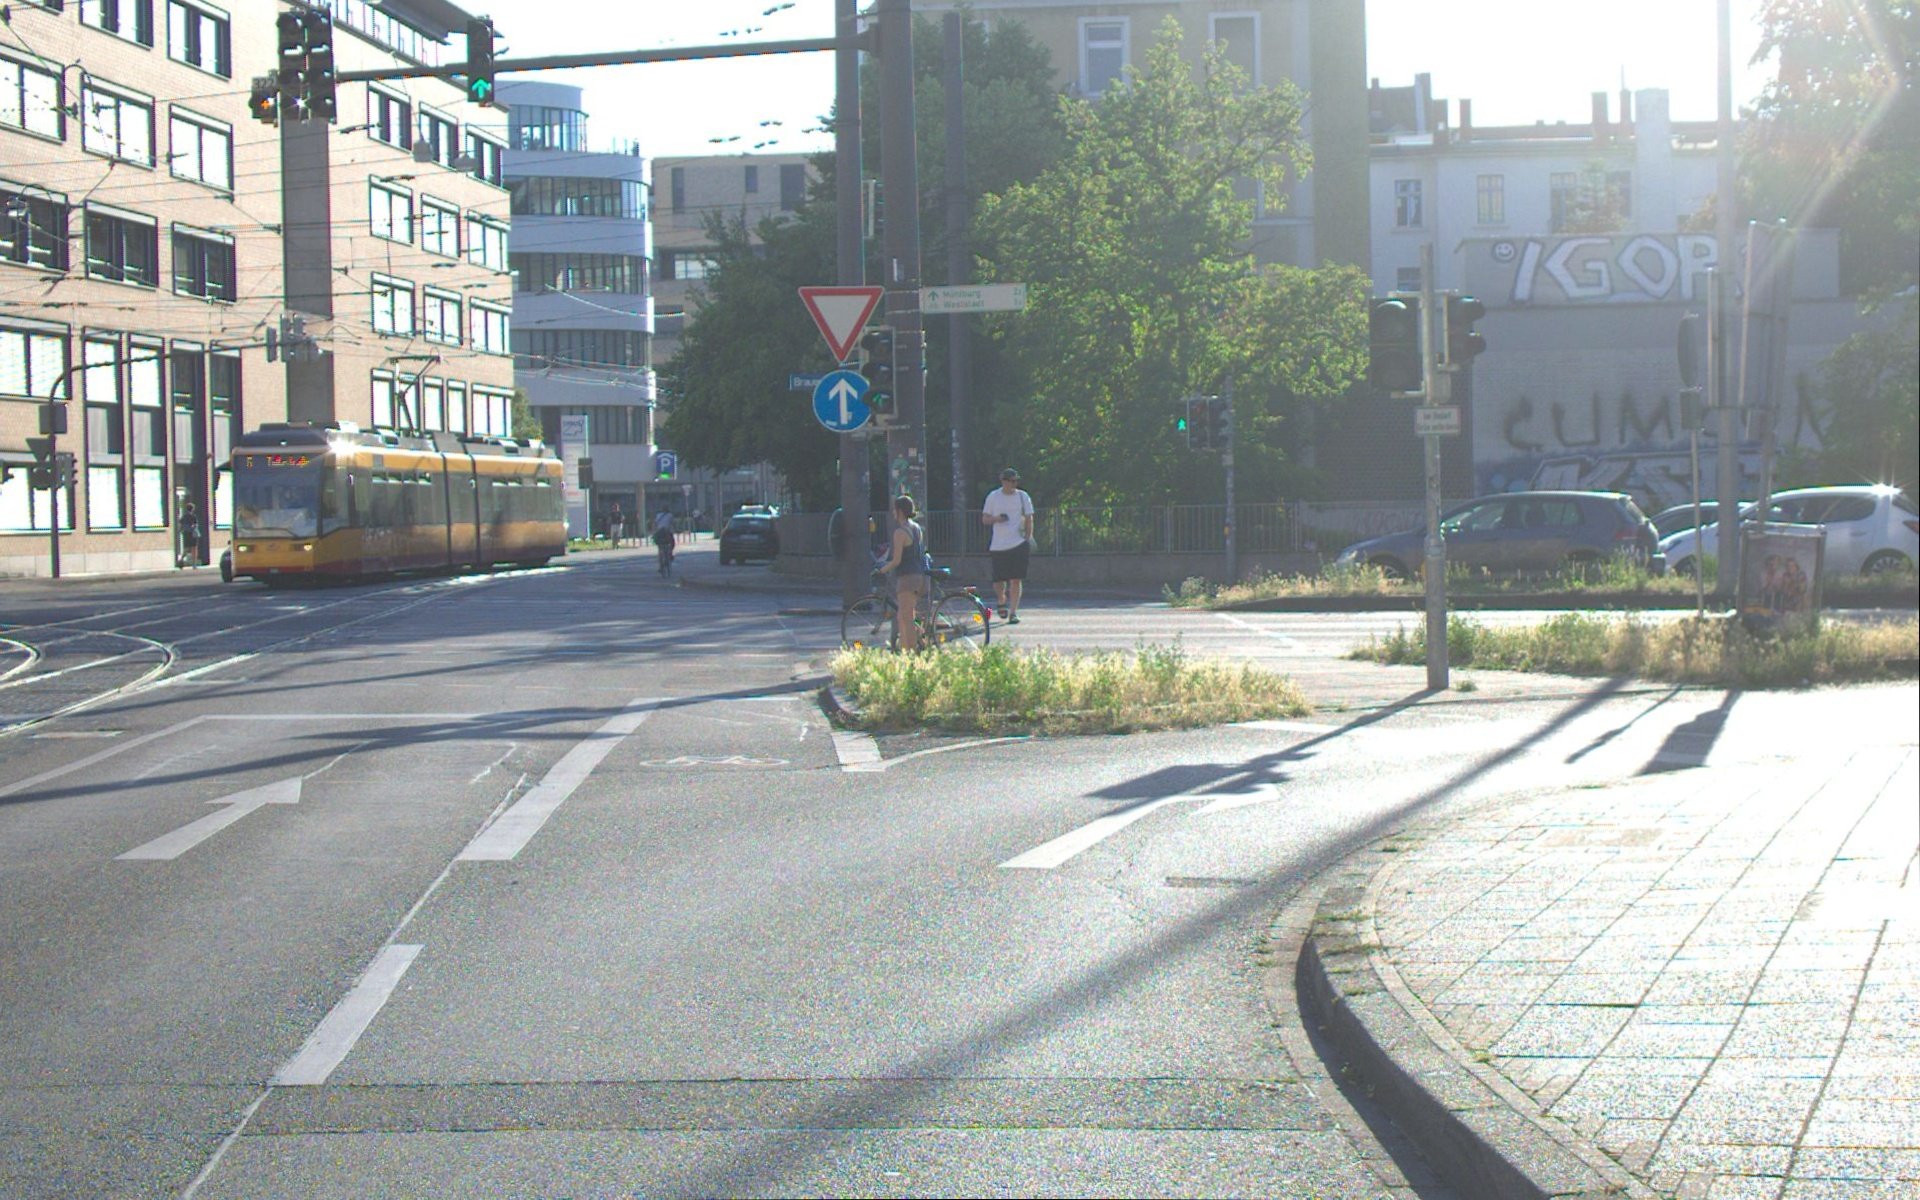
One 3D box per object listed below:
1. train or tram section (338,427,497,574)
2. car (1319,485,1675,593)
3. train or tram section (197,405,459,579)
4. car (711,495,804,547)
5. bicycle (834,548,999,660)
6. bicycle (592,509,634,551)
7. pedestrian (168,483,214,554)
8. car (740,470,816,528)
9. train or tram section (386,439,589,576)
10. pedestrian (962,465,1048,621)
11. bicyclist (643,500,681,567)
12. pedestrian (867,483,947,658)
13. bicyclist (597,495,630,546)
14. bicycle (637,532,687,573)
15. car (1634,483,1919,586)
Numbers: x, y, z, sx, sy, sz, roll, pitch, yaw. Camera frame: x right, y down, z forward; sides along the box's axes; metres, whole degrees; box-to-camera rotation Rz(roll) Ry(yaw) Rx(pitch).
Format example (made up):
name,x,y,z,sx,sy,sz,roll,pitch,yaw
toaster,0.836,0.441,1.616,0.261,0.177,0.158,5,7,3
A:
name,x,y,z,sx,sy,sz,roll,pitch,yaw
train or tram section,-13.536,-2.490,86.106,2.861,3.495,5.303,-1,2,2
car,6.920,-0.786,44.323,4.240,1.292,1.722,-1,2,23
train or tram section,-13.899,-2.403,76.955,2.861,3.495,13.015,-1,2,2
car,-5.641,-2.235,96.143,1.785,1.383,3.999,-1,2,9
bicycle,-0.420,0.033,32.370,1.670,1.025,0.399,0,2,40
bicycle,-13.860,-2.813,137.434,1.030,1.645,2.559,-1,1,9
pedestrian,-22.114,-2.349,98.852,1.009,2.007,0.871,-1,1,7
car,-5.927,-3.290,112.370,1.994,1.809,3.999,1,1,4
train or tram section,-12.826,-2.564,94.485,2.861,3.495,11.296,-1,2,6
pedestrian,0.535,-0.672,40.276,0.909,1.782,0.827,-1,1,6
bicyclist,-6.863,-1.533,79.159,0.673,1.517,0.813,-1,2,8
pedestrian,-0.498,-0.279,32.285,0.525,1.626,0.488,0,2,40
bicyclist,-13.858,-3.174,137.442,1.030,2.007,1.246,1,1,8
bicycle,-6.849,-1.100,79.162,0.695,0.874,2.026,-1,2,8
car,11.237,-0.894,46.635,3.885,1.314,1.723,-1,2,19
